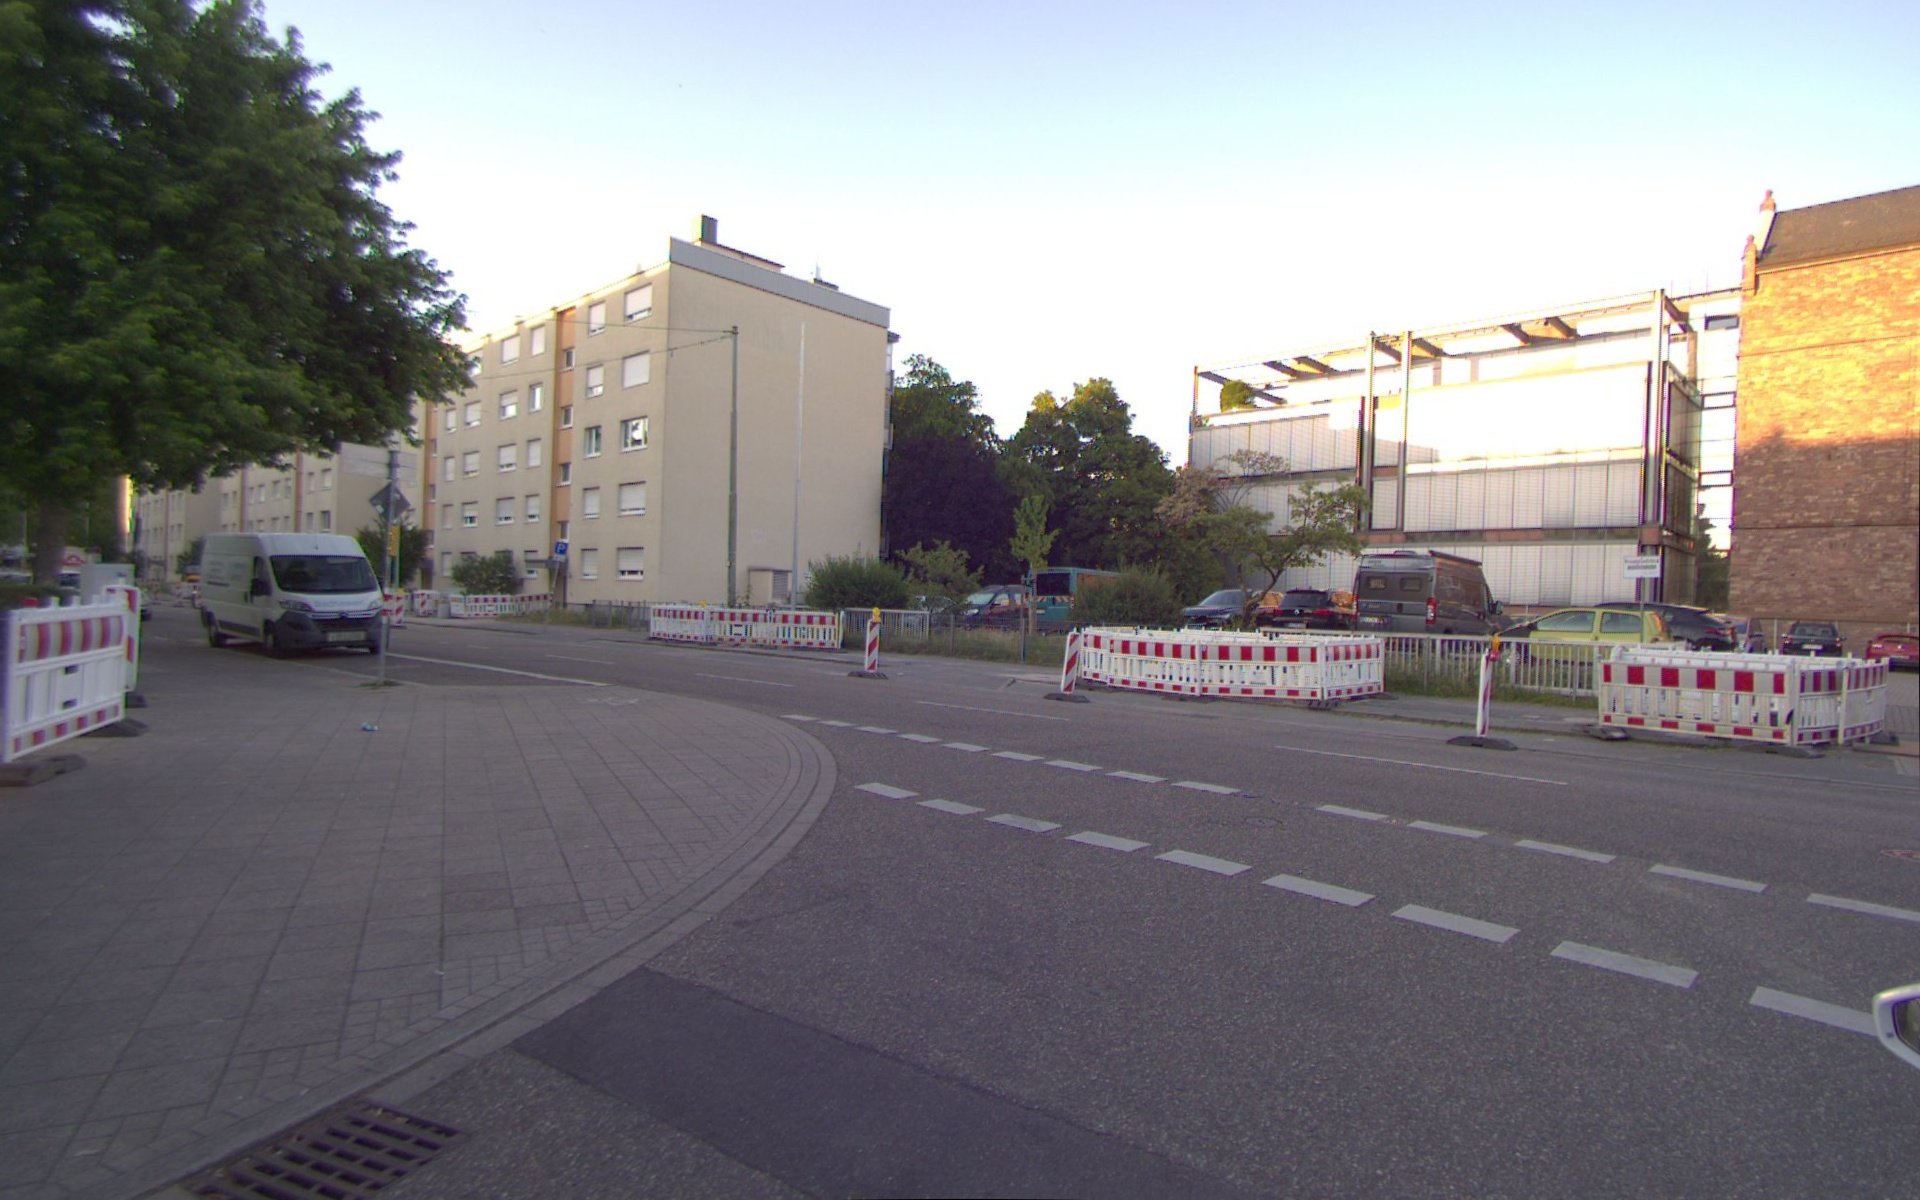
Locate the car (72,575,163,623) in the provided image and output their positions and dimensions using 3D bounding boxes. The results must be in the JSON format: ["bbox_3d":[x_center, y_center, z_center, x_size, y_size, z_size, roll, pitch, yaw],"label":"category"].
[{"bbox_3d":[-28.359,-0.081,33.777,3.869,1.503,1.753,2,2,41],"label":"car"}]

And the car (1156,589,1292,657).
[{"bbox_3d":[7.580,0.640,28.628,1.971,1.750,4.277,2,0,42],"label":"car"}]

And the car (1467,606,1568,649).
[{"bbox_3d":[19.110,0.940,34.360,1.919,1.323,4.337,2,0,45],"label":"car"}]

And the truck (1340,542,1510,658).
[{"bbox_3d":[11.889,0.020,25.512,4.941,2.652,2.310,1,0,-45],"label":"truck"}]

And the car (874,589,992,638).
[{"bbox_3d":[-0.958,0.521,37.240,1.972,1.669,4.201,2,0,44],"label":"car"}]

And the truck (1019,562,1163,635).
[{"bbox_3d":[4.205,-0.015,31.860,4.479,2.118,2.086,2,0,-42],"label":"truck"}]

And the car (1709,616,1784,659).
[{"bbox_3d":[31.256,1.464,39.873,1.877,1.558,4.153,2,0,45],"label":"car"}]

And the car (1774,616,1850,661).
[{"bbox_3d":[32.708,1.450,38.514,1.877,1.558,4.153,2,0,45],"label":"car"}]

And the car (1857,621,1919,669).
[{"bbox_3d":[34.004,1.603,36.507,1.877,1.558,4.153,2,0,45],"label":"car"}]

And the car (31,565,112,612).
[{"bbox_3d":[-32.750,-0.455,36.993,3.869,1.626,1.753,2,3,41],"label":"car"}]

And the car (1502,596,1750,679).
[{"bbox_3d":[15.234,0.799,23.185,1.564,1.660,4.539,1,0,-43],"label":"car"}]

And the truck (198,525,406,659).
[{"bbox_3d":[-14.007,-0.224,21.214,5.955,2.455,2.098,2,1,40],"label":"truck"}]

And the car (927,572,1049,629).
[{"bbox_3d":[1.035,0.042,35.564,1.972,1.850,4.201,2,0,44],"label":"car"}]

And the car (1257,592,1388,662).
[{"bbox_3d":[9.990,0.714,27.548,1.971,1.715,3.978,2,0,42],"label":"car"}]

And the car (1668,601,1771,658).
[{"bbox_3d":[23.536,0.898,31.070,1.973,1.597,4.337,2,0,45],"label":"car"}]

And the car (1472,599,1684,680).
[{"bbox_3d":[13.261,0.796,21.694,1.626,1.524,3.596,2,0,-43],"label":"car"}]
